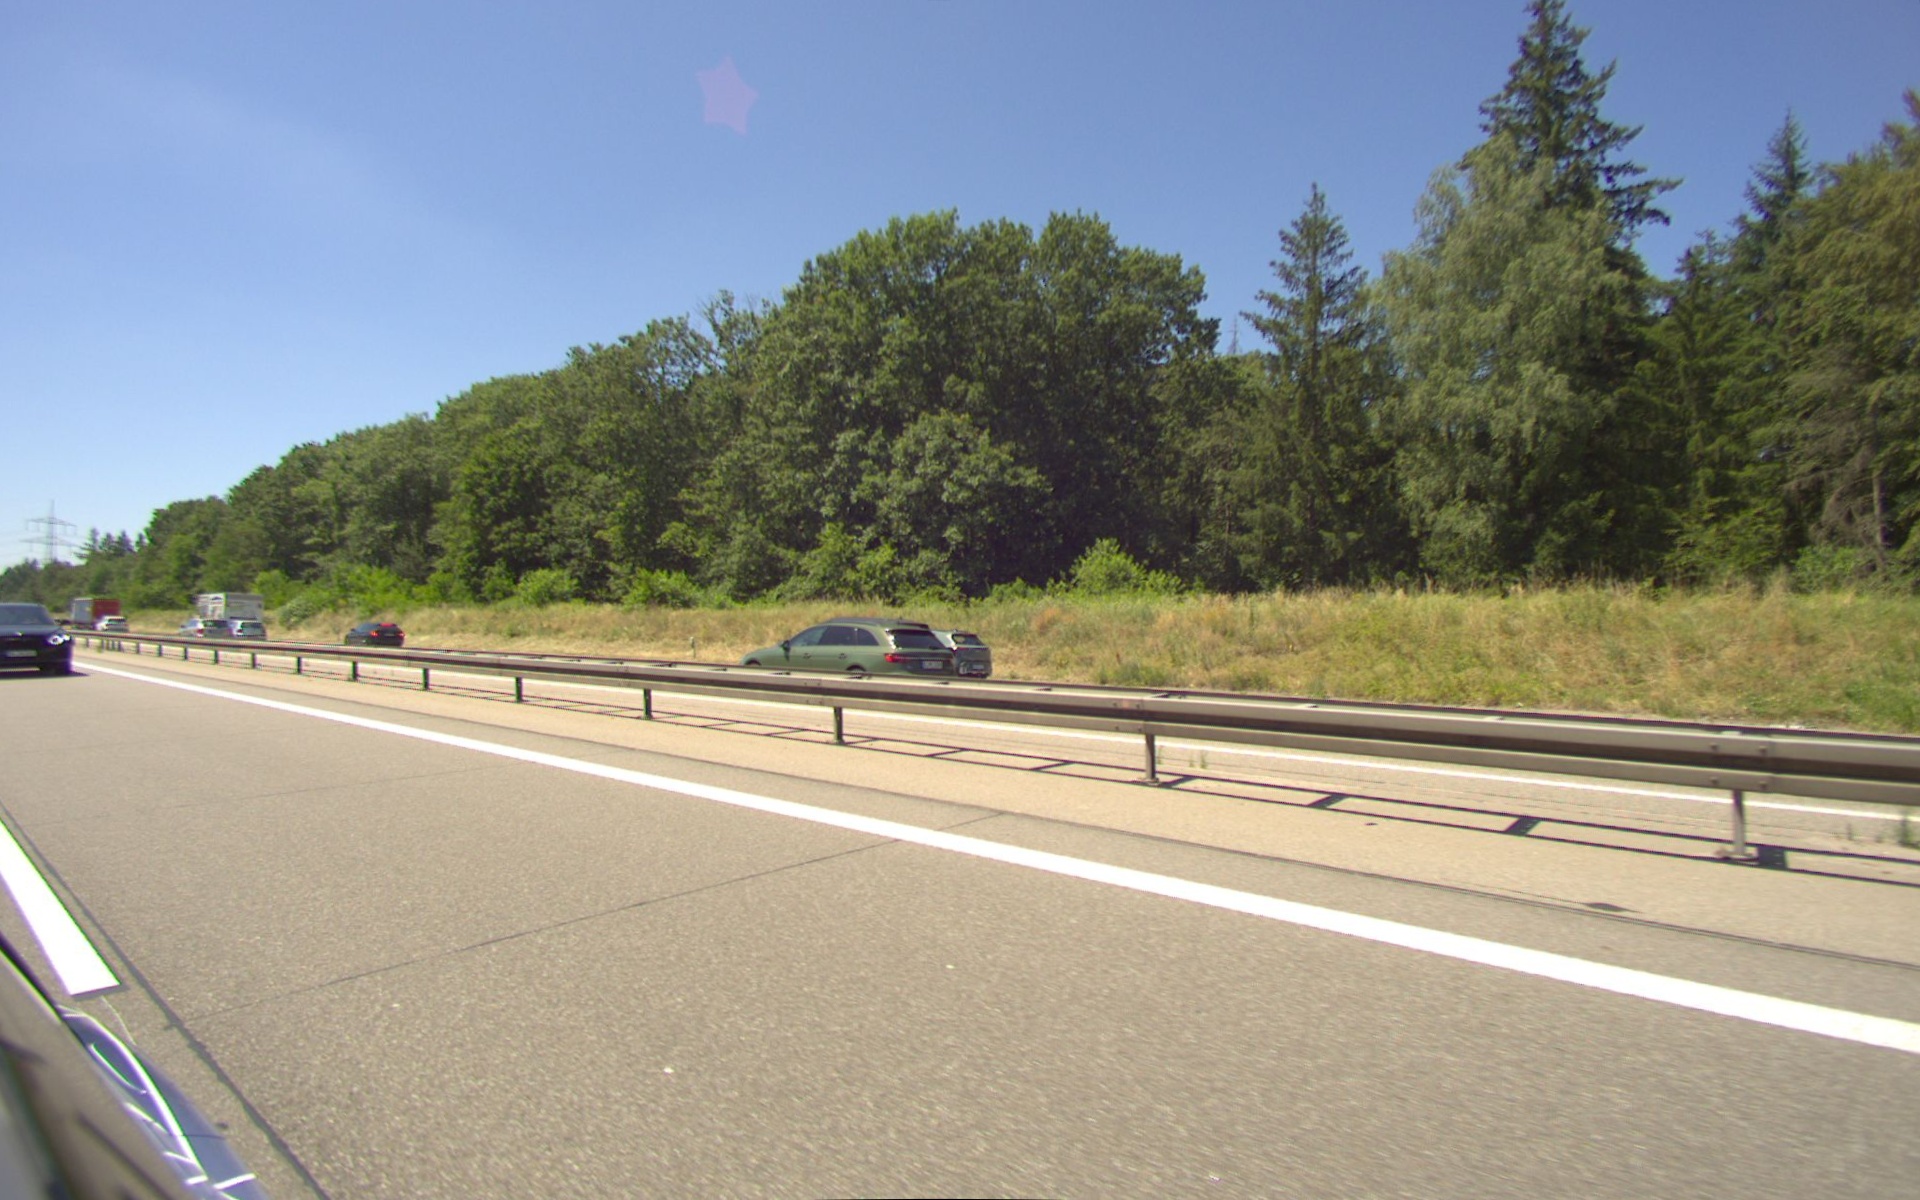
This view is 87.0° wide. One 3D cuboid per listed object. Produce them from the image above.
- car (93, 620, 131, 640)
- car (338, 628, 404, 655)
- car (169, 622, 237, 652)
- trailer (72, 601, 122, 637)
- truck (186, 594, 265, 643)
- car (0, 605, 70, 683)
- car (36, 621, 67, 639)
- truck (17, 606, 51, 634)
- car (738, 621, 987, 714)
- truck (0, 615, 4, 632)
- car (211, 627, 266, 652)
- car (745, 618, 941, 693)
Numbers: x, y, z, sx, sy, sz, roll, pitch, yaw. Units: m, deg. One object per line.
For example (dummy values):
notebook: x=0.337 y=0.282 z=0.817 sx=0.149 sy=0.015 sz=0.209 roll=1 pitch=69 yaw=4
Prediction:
car: x=-74.836 y=2.671 z=89.308 sx=5.086 sy=1.659 sz=1.709 roll=-1 pitch=-4 yaw=41
car: x=-32.982 y=2.309 z=56.592 sx=5.174 sy=1.422 sz=1.636 roll=-1 pitch=-4 yaw=42
car: x=-39.619 y=1.914 z=52.925 sx=5.118 sy=1.470 sz=1.743 roll=-1 pitch=-4 yaw=41
trailer: x=-103.318 y=2.314 z=121.069 sx=14.364 sy=4.045 sz=2.478 roll=-1 pitch=-4 yaw=42
truck: x=-57.915 y=1.512 z=79.668 sx=10.437 sy=3.545 sz=2.703 roll=-1 pitch=-4 yaw=42
car: x=-23.572 y=1.043 z=24.808 sx=5.810 sy=1.765 sz=1.920 roll=-1 pitch=-1 yaw=41
car: x=-77.303 y=2.535 z=86.099 sx=3.638 sy=1.478 sz=1.500 roll=-1 pitch=-4 yaw=42
truck: x=-125.421 y=2.757 z=137.034 sx=8.117 sy=3.634 sz=2.430 roll=-1 pitch=-4 yaw=42
car: x=-1.833 y=1.135 z=17.912 sx=4.572 sy=1.440 sz=1.681 roll=-1 pitch=-4 yaw=41
truck: x=-147.649 y=3.562 z=154.235 sx=8.030 sy=2.643 sz=2.060 roll=-1 pitch=-4 yaw=43
car: x=-44.268 y=2.422 z=62.084 sx=4.350 sy=1.418 sz=1.743 roll=-1 pitch=-4 yaw=41
car: x=-2.915 y=1.309 z=24.456 sx=4.984 sy=1.631 sz=1.775 roll=-1 pitch=-4 yaw=41
